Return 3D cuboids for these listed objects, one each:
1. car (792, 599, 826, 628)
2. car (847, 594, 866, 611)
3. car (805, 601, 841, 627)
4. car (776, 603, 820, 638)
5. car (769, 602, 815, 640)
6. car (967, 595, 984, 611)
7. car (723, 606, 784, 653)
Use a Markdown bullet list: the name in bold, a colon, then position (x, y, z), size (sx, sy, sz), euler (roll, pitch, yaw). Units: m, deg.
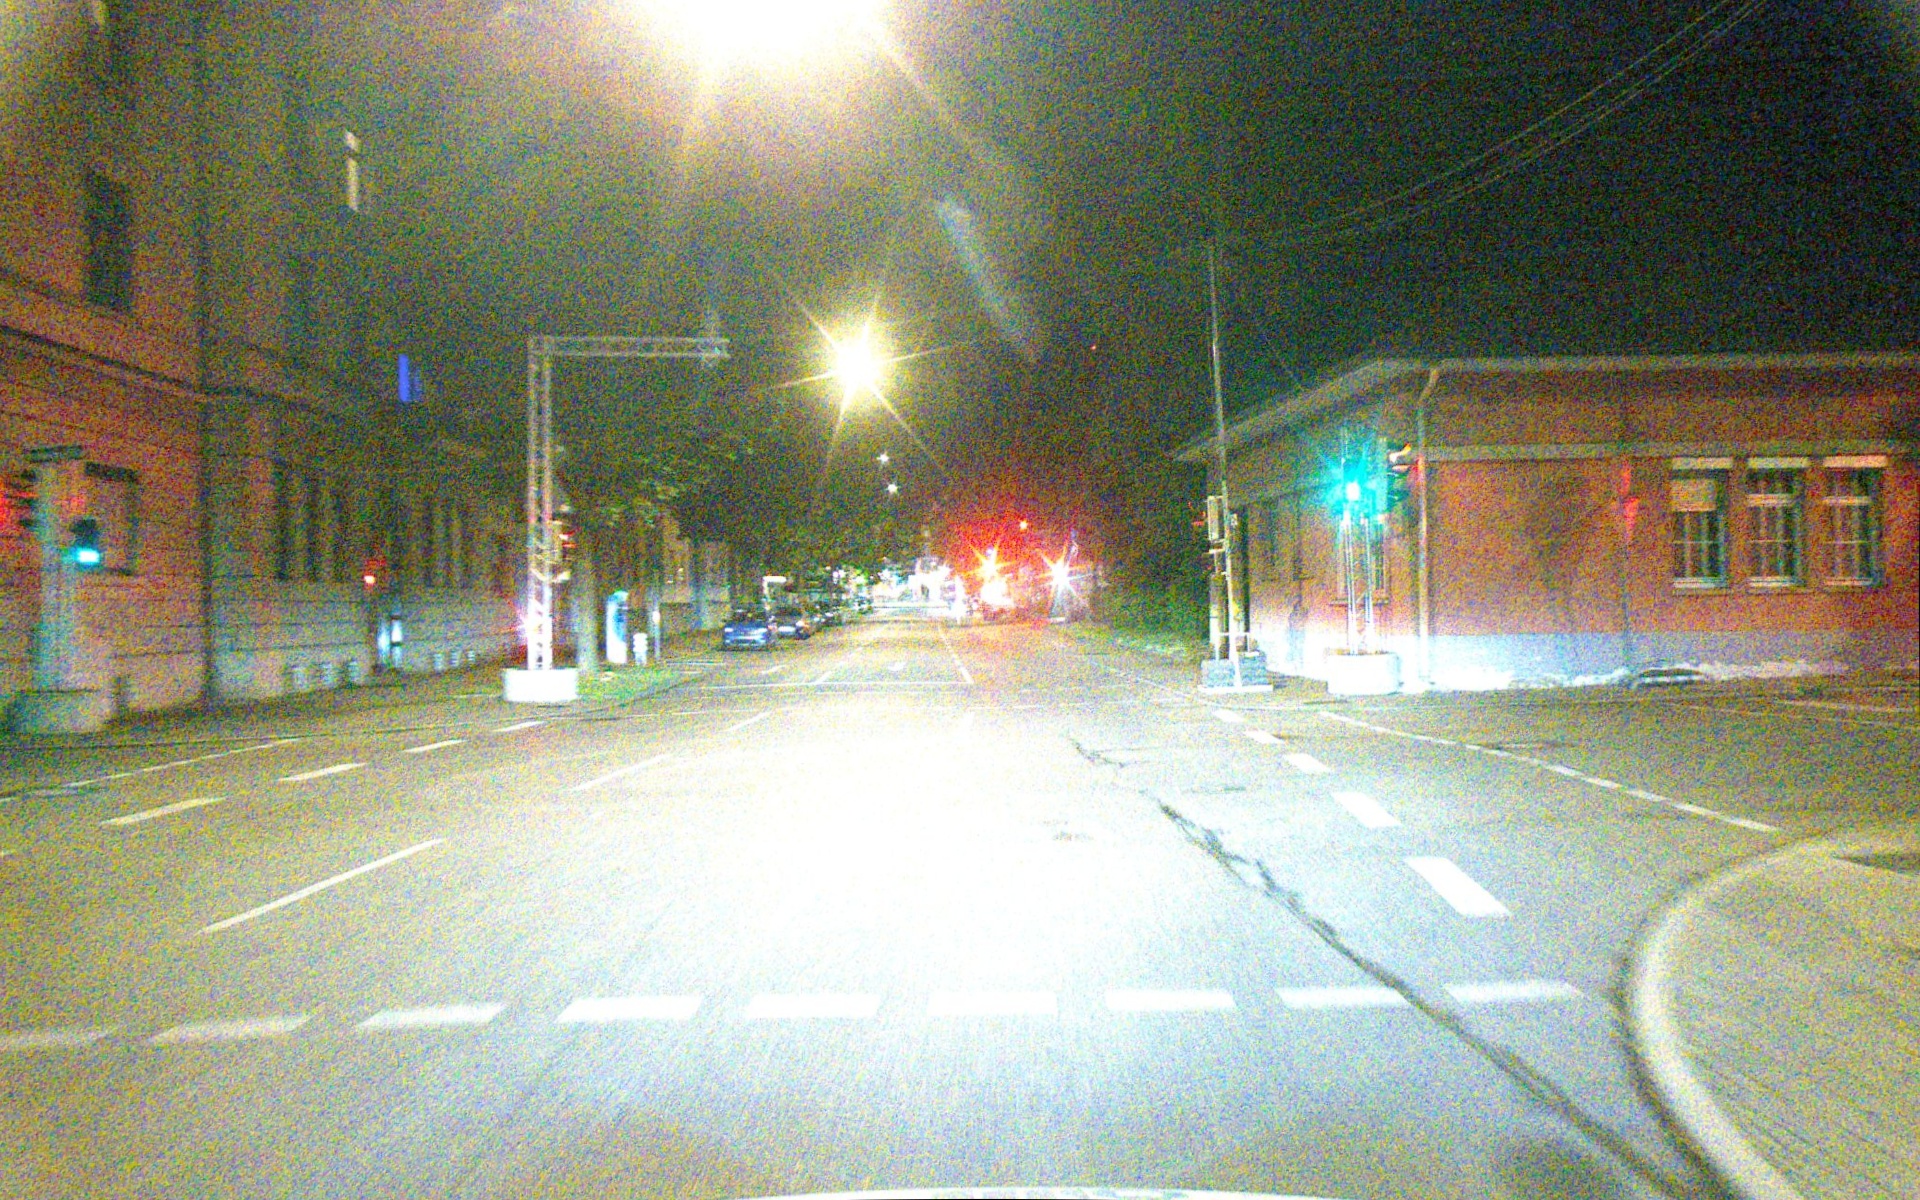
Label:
- **car**: position (-7.832, 0.665, 86.141), size (1.590, 1.407, 4.448), euler (-2, 0, -4)
- **car**: position (-9.696, 0.243, 154.945), size (1.618, 1.456, 3.999), euler (-2, 0, -1)
- **car**: position (-8.219, 0.815, 99.295), size (1.861, 1.497, 4.451), euler (0, 1, -1)
- **car**: position (-7.582, 0.958, 77.805), size (1.732, 1.511, 4.861), euler (-2, 0, -2)
- **car**: position (-7.325, 0.893, 72.624), size (1.733, 1.511, 4.765), euler (-2, 0, -3)
- **car**: position (1.466, 0.302, 157.870), size (1.617, 1.456, 4.000), euler (-2, 0, 0)
- **car**: position (-7.016, 1.041, 56.504), size (1.679, 1.520, 3.988), euler (-1, -2, -2)
